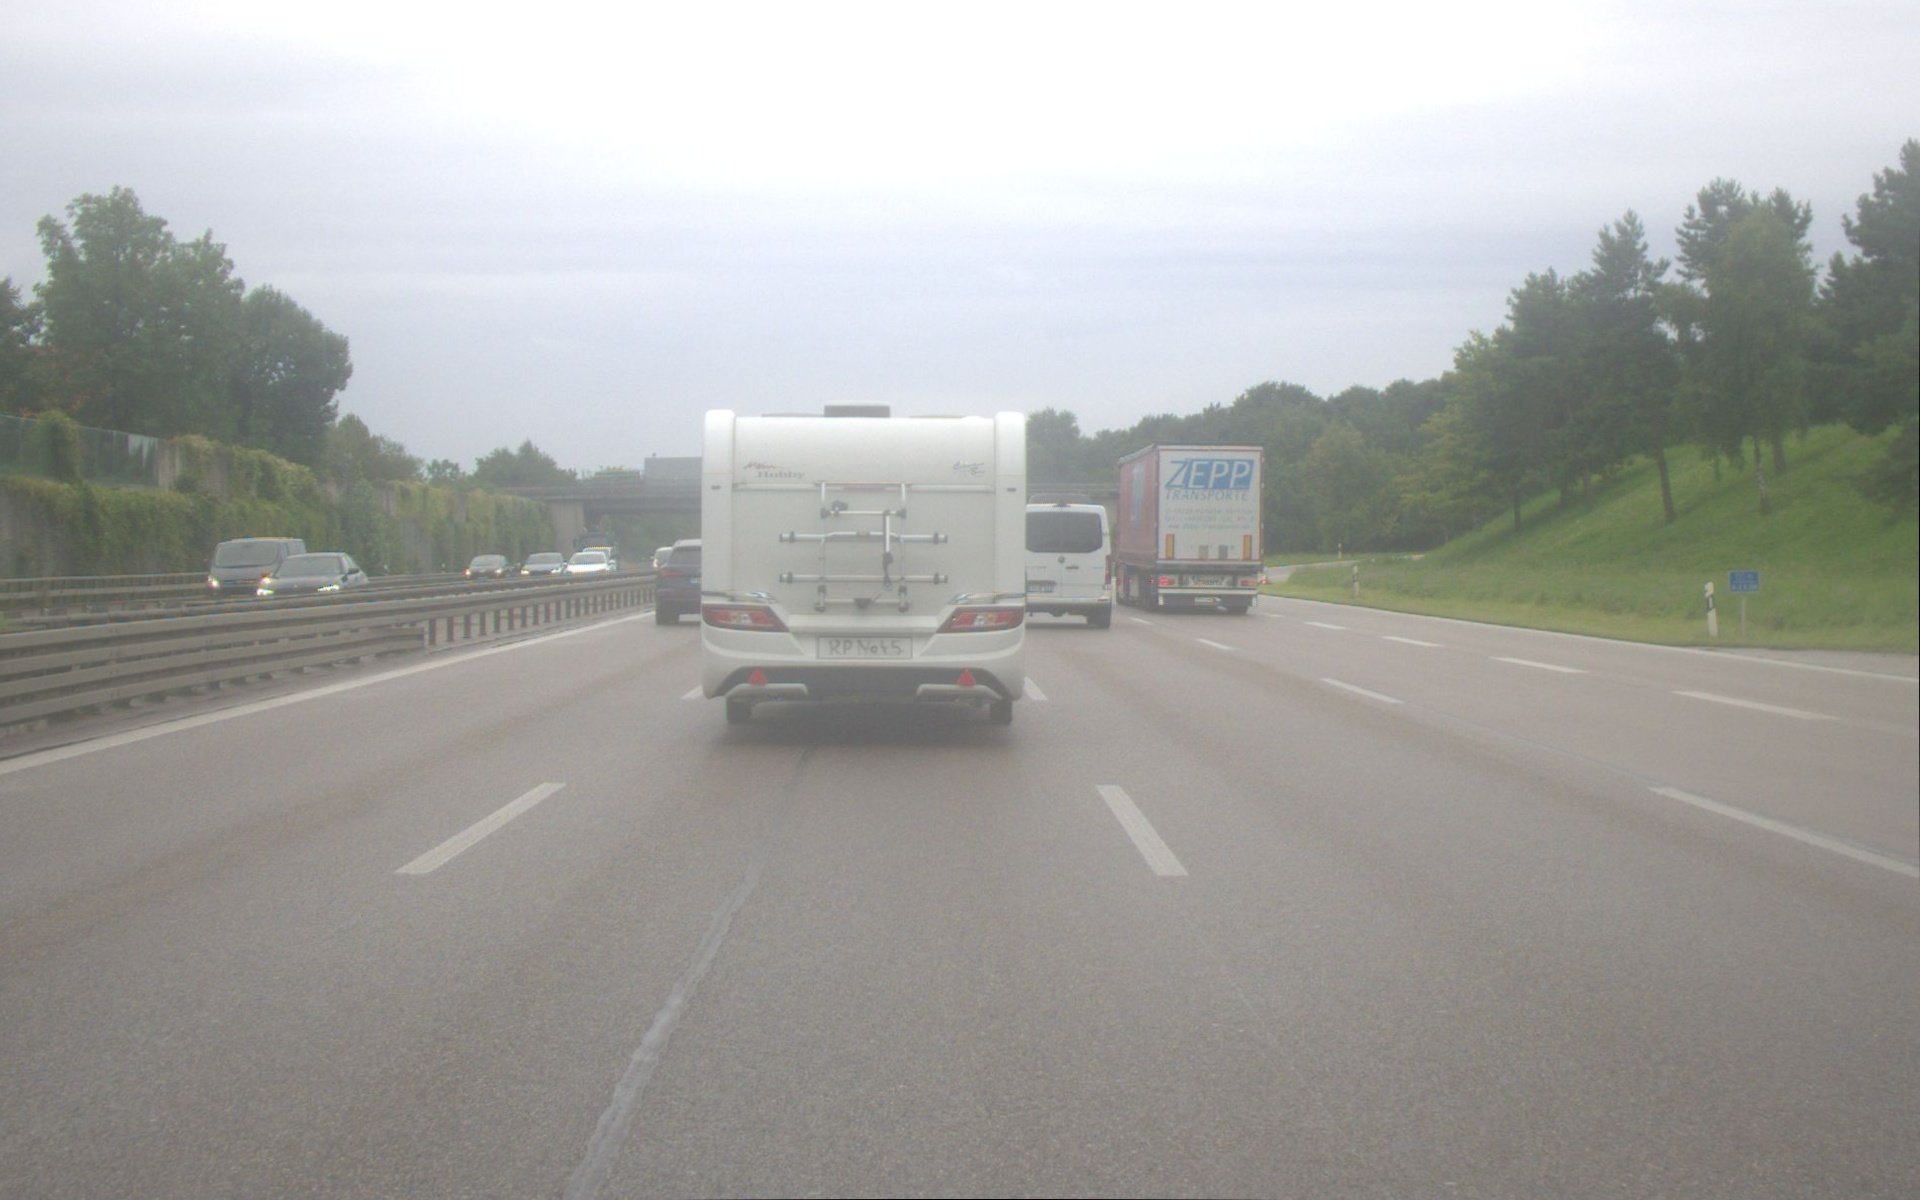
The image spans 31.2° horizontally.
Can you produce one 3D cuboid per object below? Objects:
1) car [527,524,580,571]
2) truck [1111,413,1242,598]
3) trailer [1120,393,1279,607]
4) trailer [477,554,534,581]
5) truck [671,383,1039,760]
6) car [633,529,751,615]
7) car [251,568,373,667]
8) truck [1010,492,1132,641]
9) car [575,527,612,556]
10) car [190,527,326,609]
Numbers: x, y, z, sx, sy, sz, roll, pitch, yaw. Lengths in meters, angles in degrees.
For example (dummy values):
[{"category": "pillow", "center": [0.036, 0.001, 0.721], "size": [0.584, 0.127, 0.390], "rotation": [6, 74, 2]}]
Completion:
[{"category": "car", "center": [-17.781, -2.293, 150.401], "size": [1.932, 2.007, 4.733], "rotation": [0, 1, -2]}, {"category": "truck", "center": [5.807, -2.518, 93.258], "size": [3.048, 4.822, 5.850], "rotation": [1, 1, -1]}, {"category": "trailer", "center": [5.836, -2.389, 85.767], "size": [3.100, 4.905, 11.790], "rotation": [1, 1, 0]}, {"category": "trailer", "center": [-22.422, -1.594, 169.795], "size": [2.130, 1.263, 5.247], "rotation": [1, 1, 0]}, {"category": "truck", "center": [-0.830, -0.235, 27.850], "size": [2.661, 2.733, 5.078], "rotation": [1, 1, -1]}, {"category": "car", "center": [-5.213, -0.558, 67.459], "size": [1.993, 1.594, 5.124], "rotation": [1, 1, -1]}, {"category": "car", "center": [-13.623, 0.342, 72.454], "size": [1.854, 2.007, 3.852], "rotation": [1, 1, -1]}, {"category": "truck", "center": [2.126, -0.663, 67.523], "size": [2.053, 2.760, 5.549], "rotation": [1, 1, -1]}, {"category": "car", "center": [-26.054, -4.147, 244.535], "size": [1.994, 2.007, 4.000], "rotation": [1, 1, 3]}, {"category": "car", "center": [-17.686, -0.807, 86.927], "size": [2.209, 1.965, 6.271], "rotation": [1, 1, -1]}]
